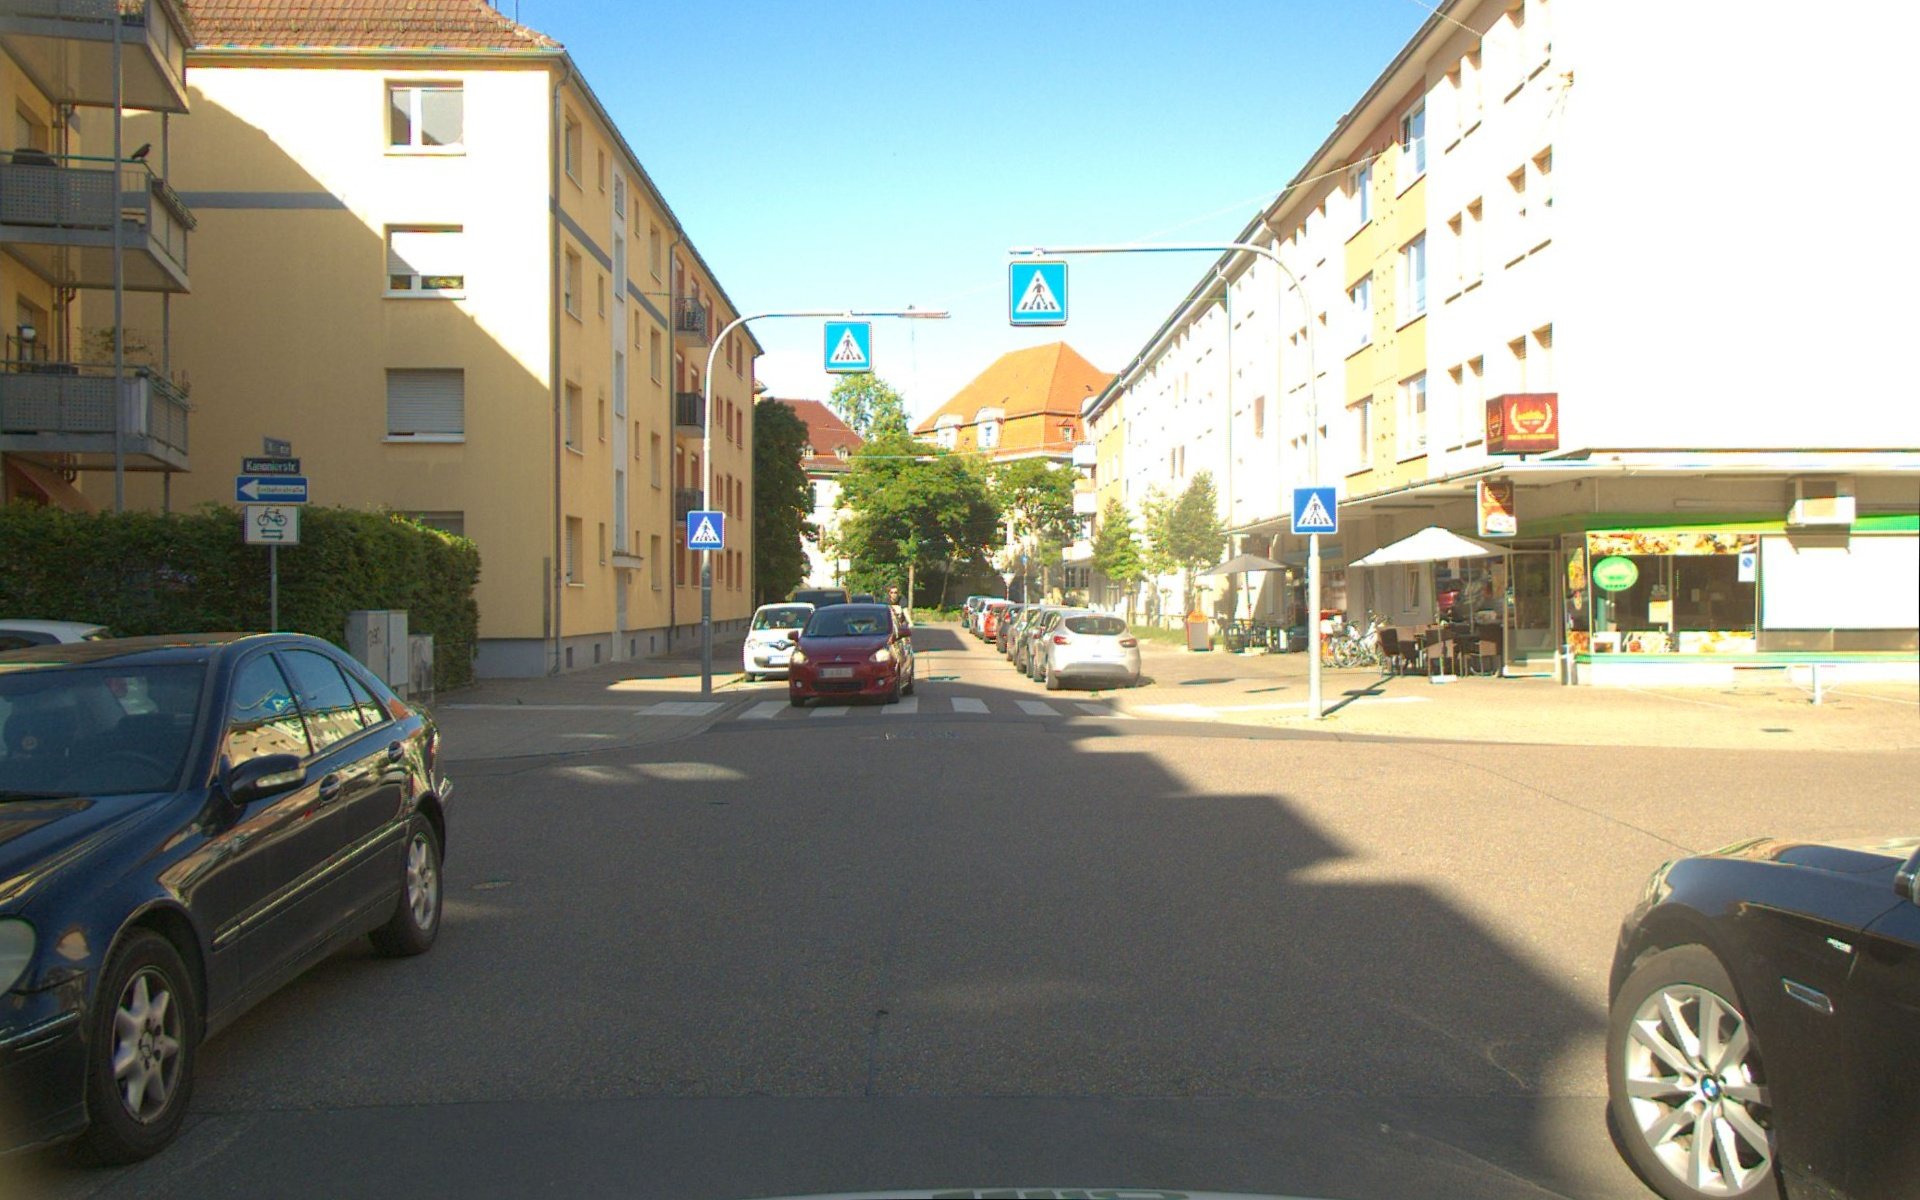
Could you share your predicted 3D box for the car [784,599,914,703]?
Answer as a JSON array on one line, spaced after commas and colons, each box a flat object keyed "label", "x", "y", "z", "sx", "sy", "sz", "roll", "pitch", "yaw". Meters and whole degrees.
[{"label": "car", "x": -1.630, "y": 0.735, "z": 25.303, "sx": 1.662, "sy": 1.466, "sz": 3.419, "roll": -1, "pitch": 0, "yaw": 2}]

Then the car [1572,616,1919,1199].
[{"label": "car", "x": 2.771, "y": 0.793, "z": 2.462, "sx": 1.816, "sy": 1.550, "sz": 4.775, "roll": 0, "pitch": -1, "yaw": -2}]

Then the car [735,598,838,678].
[{"label": "car", "x": -3.606, "y": 0.756, "z": 35.044, "sx": 1.755, "sy": 1.506, "sz": 4.098, "roll": -2, "pitch": 0, "yaw": -1}]

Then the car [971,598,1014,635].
[{"label": "car", "x": 1.326, "y": 0.686, "z": 68.484, "sx": 1.605, "sy": 1.466, "sz": 3.417, "roll": -1, "pitch": 0, "yaw": -2}]

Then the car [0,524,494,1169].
[{"label": "car", "x": -3.039, "y": 0.665, "z": 5.851, "sx": 1.670, "sy": 1.440, "sz": 4.371, "roll": -5, "pitch": -1, "yaw": -4}]

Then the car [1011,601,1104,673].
[{"label": "car", "x": 2.047, "y": 0.775, "z": 35.636, "sx": 1.656, "sy": 1.466, "sz": 3.417, "roll": -1, "pitch": 0, "yaw": -3}]

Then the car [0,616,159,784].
[{"label": "car", "x": -9.746, "y": 0.927, "z": 15.413, "sx": 3.919, "sy": 1.505, "sz": 1.586, "roll": -1, "pitch": -1, "yaw": -19}]

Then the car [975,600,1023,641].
[{"label": "car", "x": 1.441, "y": 0.753, "z": 62.162, "sx": 1.605, "sy": 1.466, "sz": 3.417, "roll": -1, "pitch": 0, "yaw": -2}]

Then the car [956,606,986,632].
[{"label": "car", "x": 0.633, "y": 1.096, "z": 96.725, "sx": 1.605, "sy": 1.466, "sz": 3.417, "roll": -1, "pitch": 0, "yaw": -2}]

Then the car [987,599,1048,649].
[{"label": "car", "x": 1.727, "y": 0.714, "z": 50.564, "sx": 1.605, "sy": 1.466, "sz": 3.417, "roll": -1, "pitch": 0, "yaw": -3}]

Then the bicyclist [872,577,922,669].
[{"label": "bicyclist", "x": -1.153, "y": 0.425, "z": 30.582, "sx": 0.769, "sy": 1.649, "sz": 0.956, "roll": -2, "pitch": 0, "yaw": 3}]

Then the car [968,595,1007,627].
[{"label": "car", "x": 1.269, "y": 0.525, "z": 77.540, "sx": 1.605, "sy": 1.466, "sz": 3.417, "roll": -1, "pitch": 0, "yaw": -2}]

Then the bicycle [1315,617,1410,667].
[{"label": "bicycle", "x": 8.235, "y": 0.859, "z": 33.859, "sx": 1.774, "sy": 0.984, "sz": 0.672, "roll": -1, "pitch": -1, "yaw": -12}]

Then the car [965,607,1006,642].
[{"label": "car", "x": 1.105, "y": 1.068, "z": 73.065, "sx": 1.605, "sy": 1.466, "sz": 3.417, "roll": -1, "pitch": 0, "yaw": -2}]

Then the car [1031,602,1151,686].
[{"label": "car", "x": 2.390, "y": 0.792, "z": 30.905, "sx": 1.808, "sy": 1.466, "sz": 3.417, "roll": -1, "pitch": 0, "yaw": -3}]

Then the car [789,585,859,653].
[{"label": "car", "x": -3.776, "y": 0.521, "z": 46.402, "sx": 1.663, "sy": 1.810, "sz": 4.098, "roll": -1, "pitch": 0, "yaw": -1}]

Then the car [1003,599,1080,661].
[{"label": "car", "x": 2.013, "y": 0.740, "z": 41.500, "sx": 1.605, "sy": 1.466, "sz": 3.417, "roll": -1, "pitch": 0, "yaw": -3}]

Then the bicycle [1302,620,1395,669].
[{"label": "bicycle", "x": 8.101, "y": 0.926, "z": 34.484, "sx": 1.774, "sy": 0.984, "sz": 0.672, "roll": -1, "pitch": -1, "yaw": -12}]

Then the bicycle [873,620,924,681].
[{"label": "bicycle", "x": -1.126, "y": 0.915, "z": 30.578, "sx": 0.762, "sy": 1.088, "sz": 1.790, "roll": -1, "pitch": -1, "yaw": 3}]

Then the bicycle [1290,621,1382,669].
[{"label": "bicycle", "x": 7.974, "y": 0.950, "z": 35.109, "sx": 1.774, "sy": 0.984, "sz": 0.672, "roll": -1, "pitch": -1, "yaw": -12}]

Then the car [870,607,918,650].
[{"label": "car", "x": -2.316, "y": 0.987, "z": 57.979, "sx": 1.605, "sy": 1.466, "sz": 3.417, "roll": -1, "pitch": 0, "yaw": -3}]
